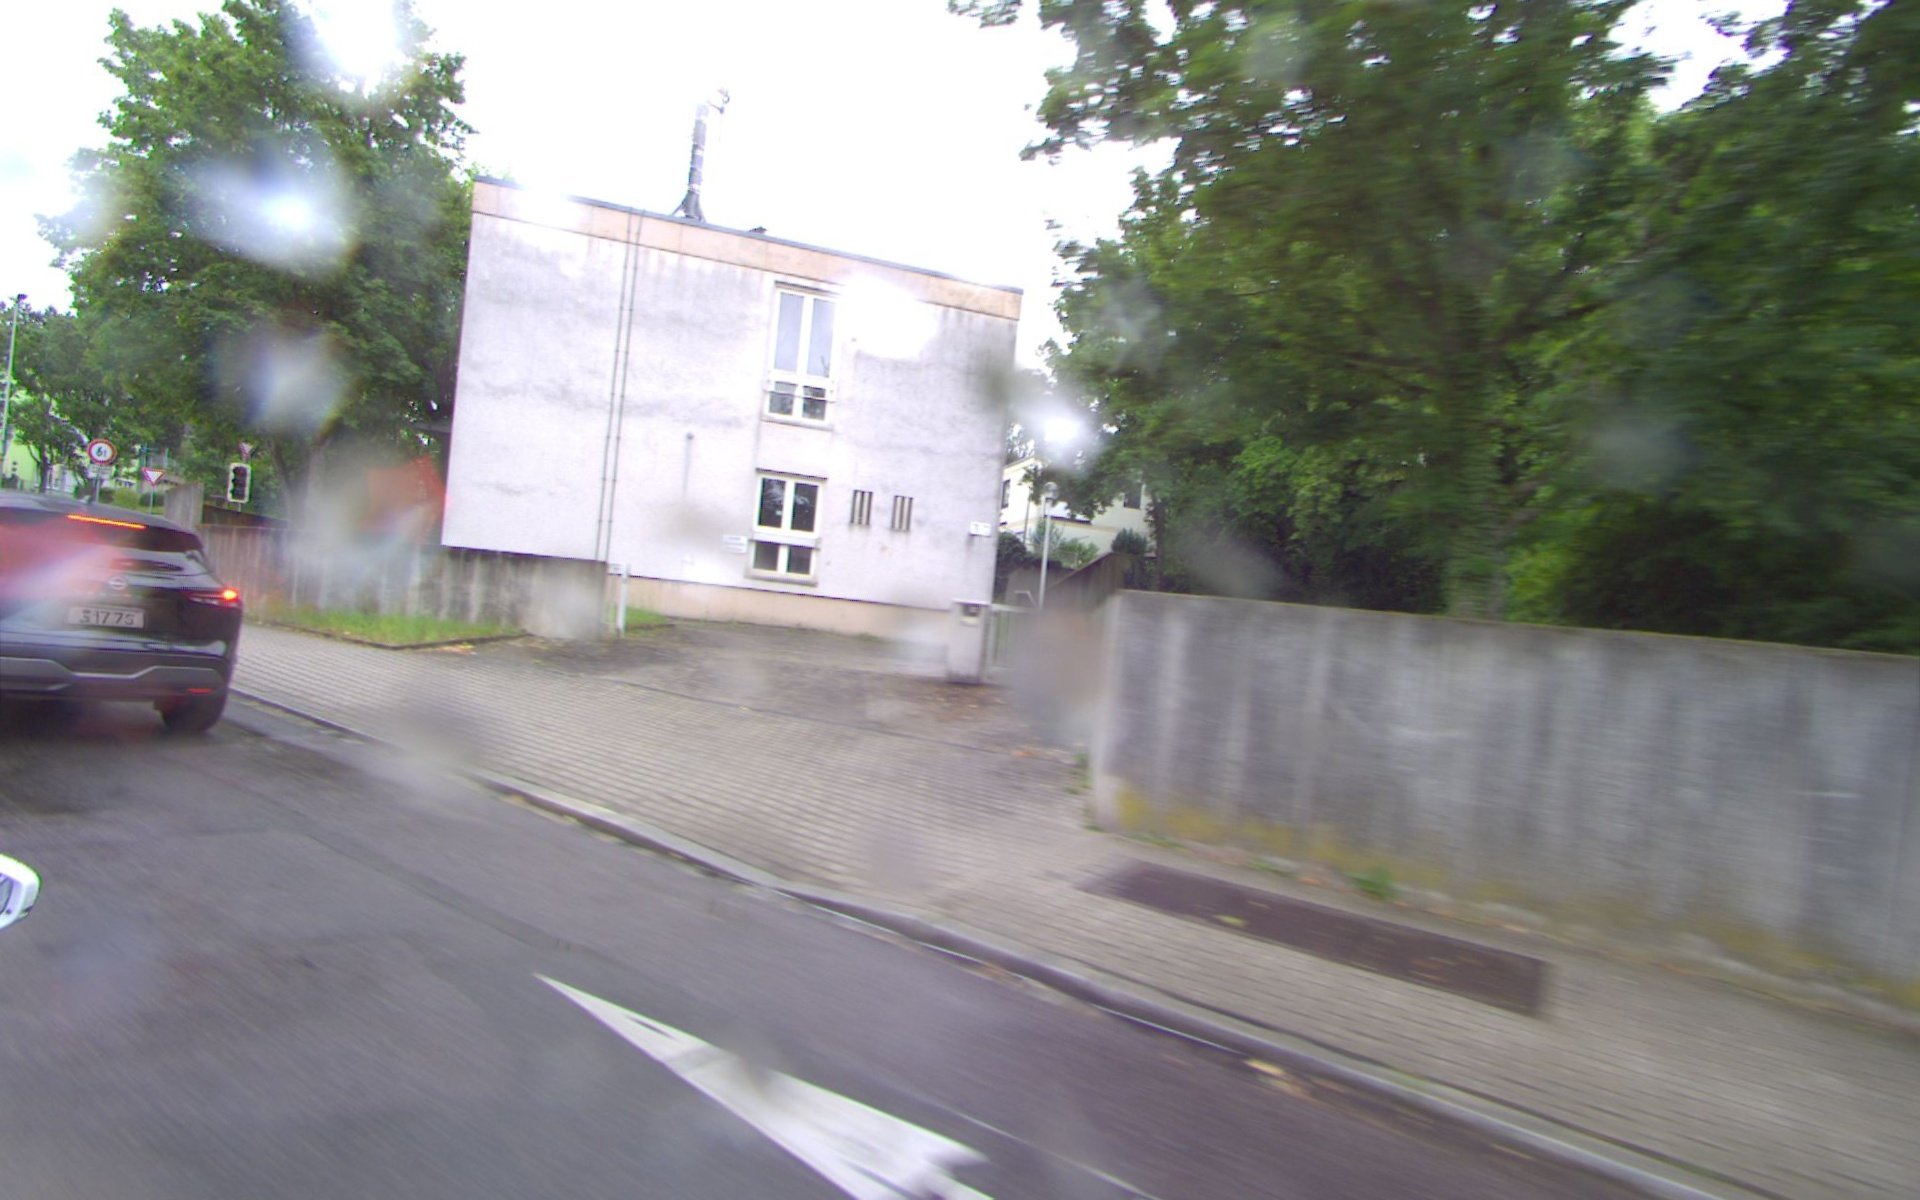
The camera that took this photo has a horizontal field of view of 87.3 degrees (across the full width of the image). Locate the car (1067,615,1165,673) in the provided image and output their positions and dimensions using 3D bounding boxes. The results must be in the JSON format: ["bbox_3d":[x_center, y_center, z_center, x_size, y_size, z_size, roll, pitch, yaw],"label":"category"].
[{"bbox_3d":[4.622,1.282,30.255,1.459,1.393,3.431,5,0,-17],"label":"car"}]

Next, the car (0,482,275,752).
[{"bbox_3d":[-7.219,-0.065,7.645,4.185,1.622,1.792,8,-1,34],"label":"car"}]
